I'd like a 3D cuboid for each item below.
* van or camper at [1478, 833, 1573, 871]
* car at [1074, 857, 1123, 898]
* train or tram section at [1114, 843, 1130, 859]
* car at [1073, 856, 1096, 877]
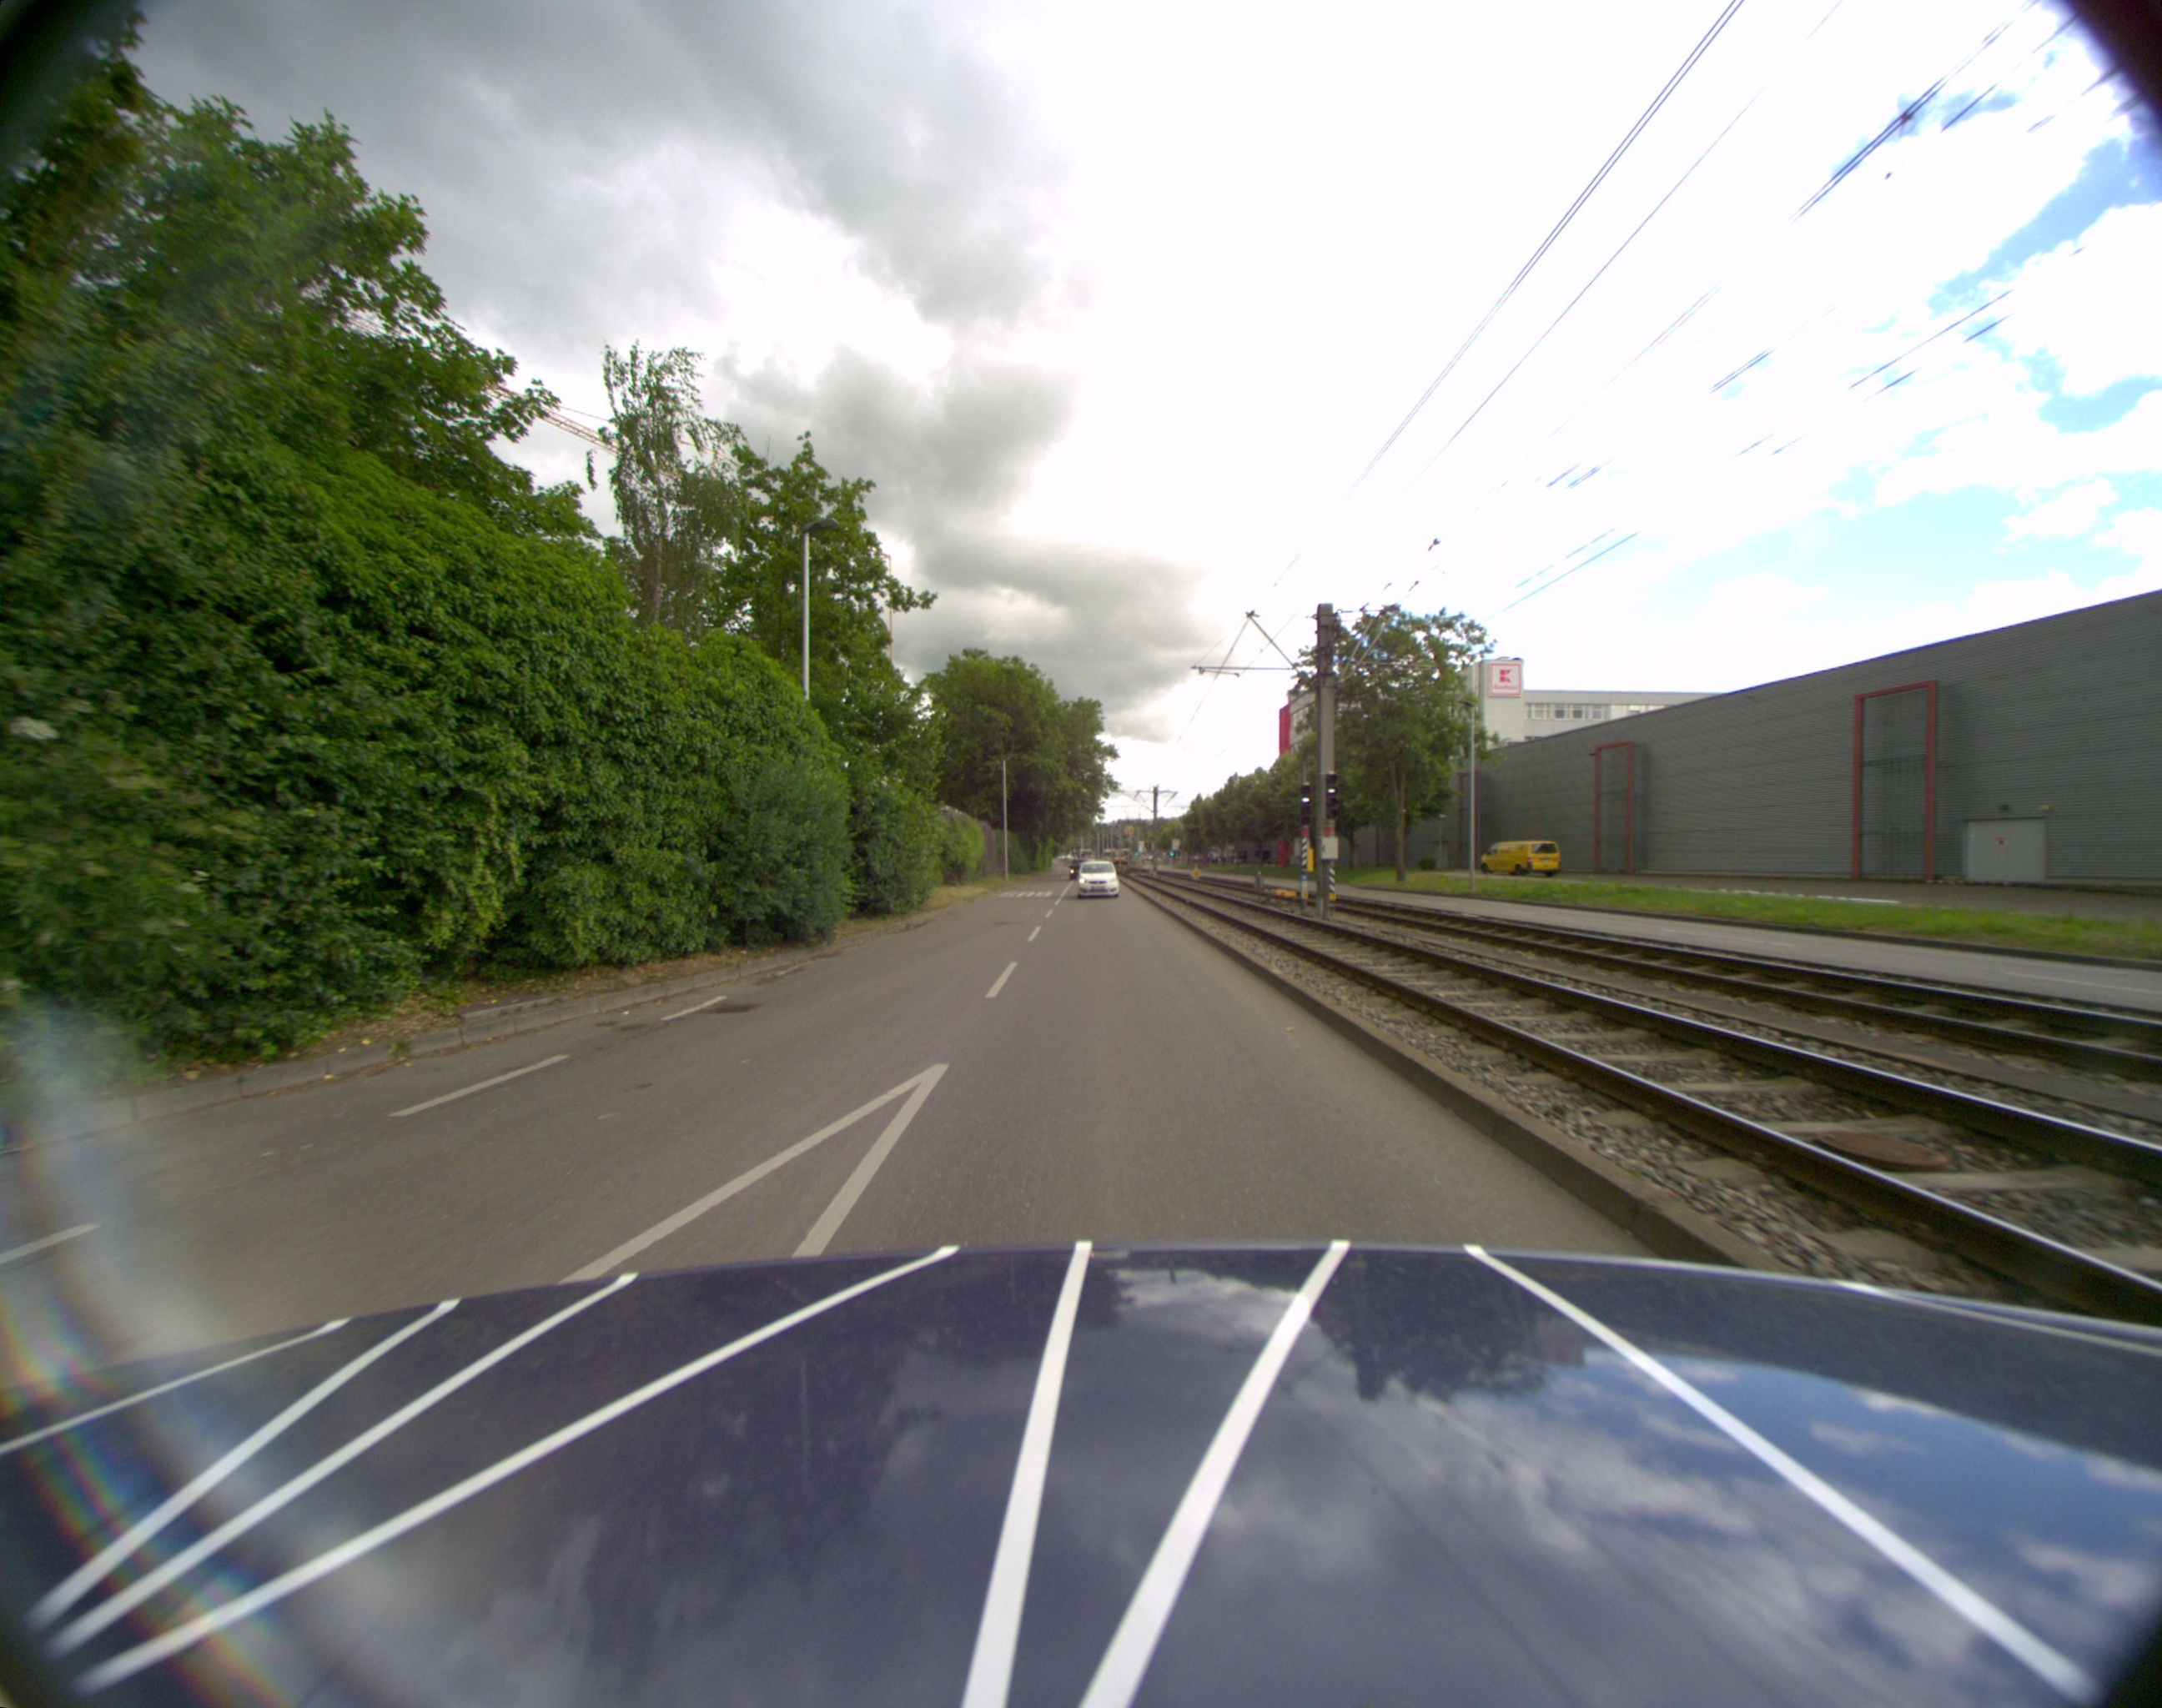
[{"bbox_3d":[24.774,-0.106,42.644,2.109,2.002,5.241,-1,0,-3],"label":"van or camper"},{"bbox_3d":[0.660,0.879,30.526,1.765,1.469,4.030,-2,0,0],"label":"car"},{"bbox_3d":[9.836,-0.638,181.941,2.778,3.753,13.784,-1,0,-1],"label":"train or tram section"},{"bbox_3d":[0.264,0.962,59.261,1.714,1.586,4.000,-1,0,1],"label":"car"}]
